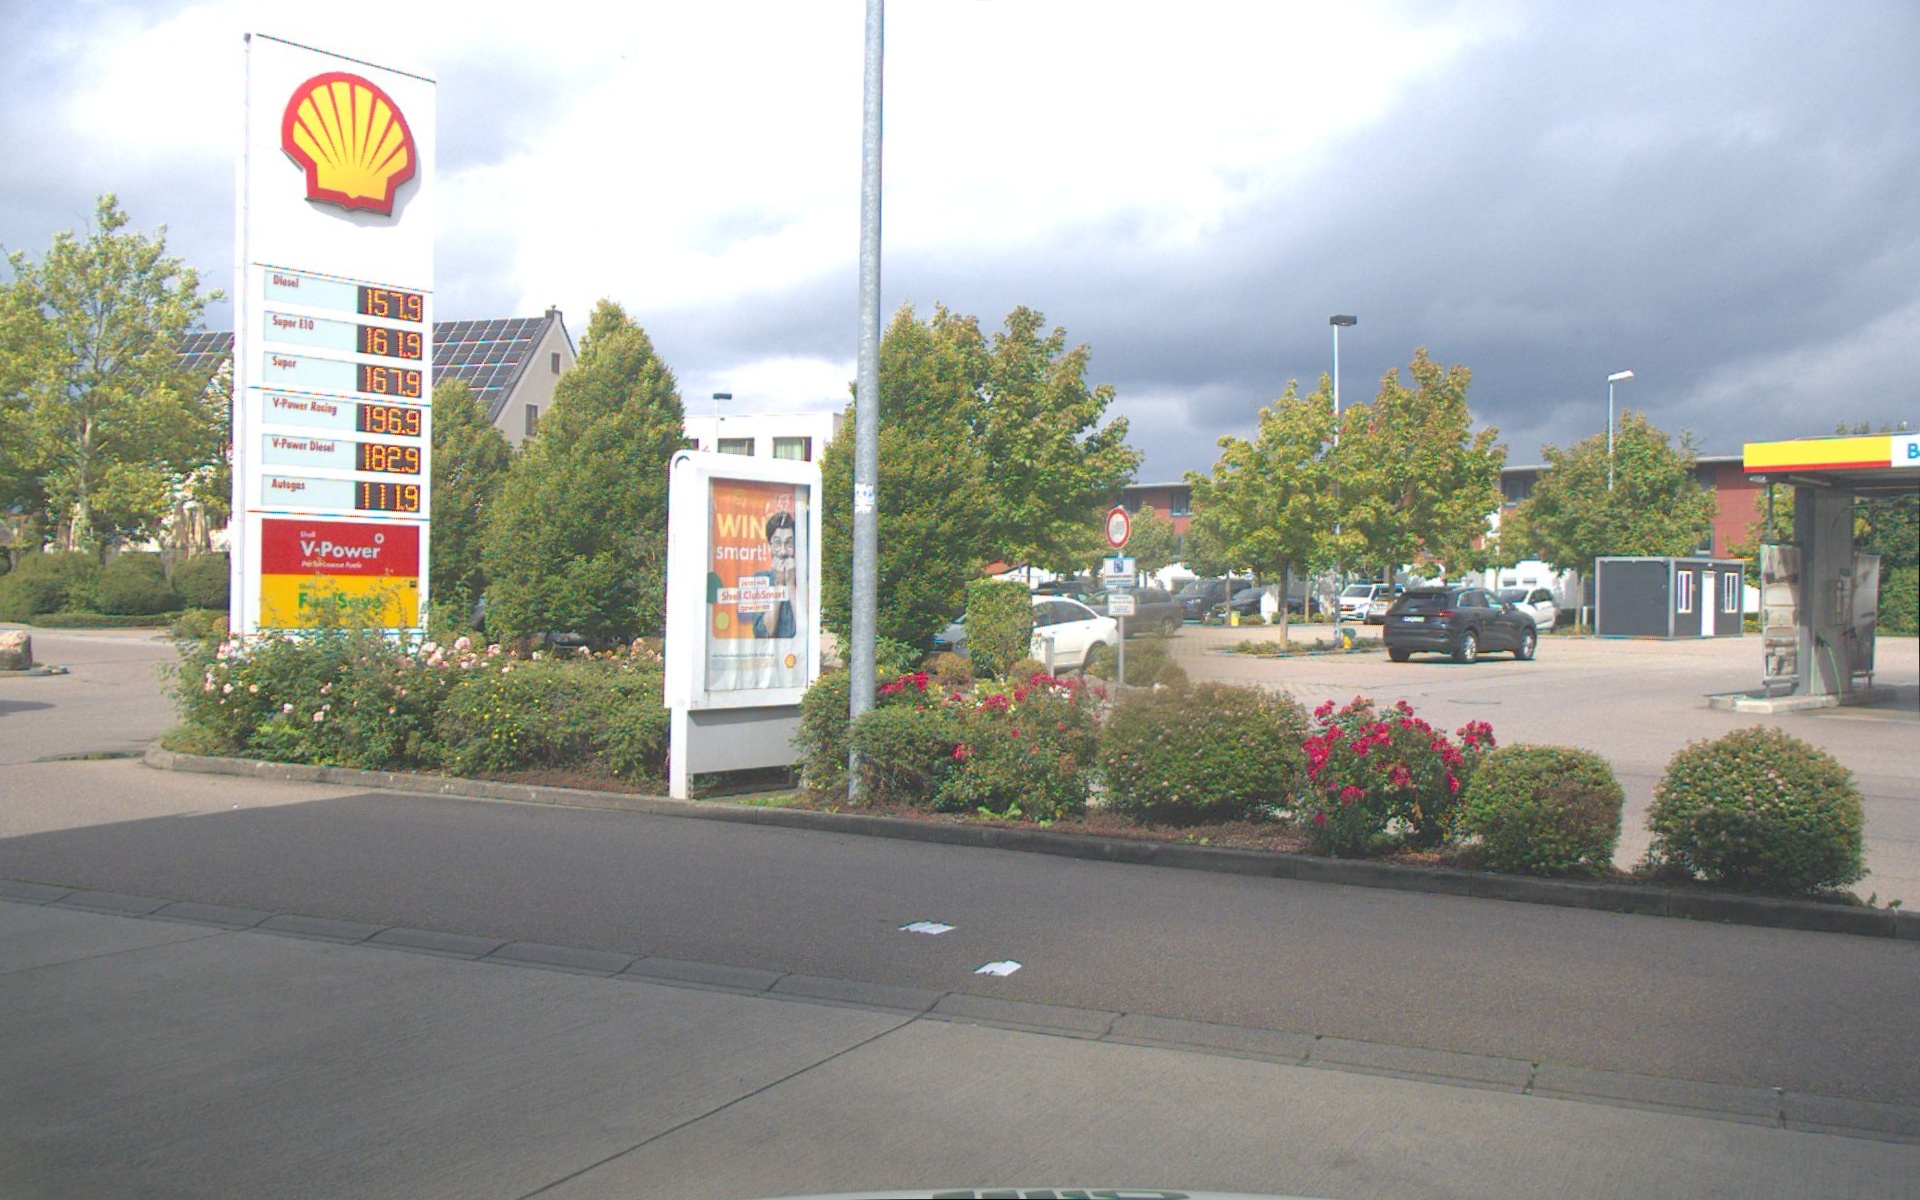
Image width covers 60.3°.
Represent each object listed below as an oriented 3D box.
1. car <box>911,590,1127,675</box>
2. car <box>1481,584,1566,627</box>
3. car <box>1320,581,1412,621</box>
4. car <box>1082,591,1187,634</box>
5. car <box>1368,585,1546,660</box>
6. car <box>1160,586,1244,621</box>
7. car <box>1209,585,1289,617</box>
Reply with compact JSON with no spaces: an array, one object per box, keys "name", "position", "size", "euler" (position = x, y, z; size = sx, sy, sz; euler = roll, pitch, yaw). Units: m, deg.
[{"name":"car","position":[1.133,0.586,29.939],"size":[1.348,1.428,4.312],"euler":[1,-1,45]},{"name":"car","position":[18.006,0.180,52.809],"size":[3.080,1.330,1.346],"euler":[1,-1,-45]},{"name":"car","position":[19.913,0.046,80.949],"size":[4.839,1.865,2.150],"euler":[1,0,-44]},{"name":"car","position":[5.277,0.377,49.795],"size":[3.203,1.249,1.481],"euler":[1,0,-45]},{"name":"car","position":[11.130,0.496,36.896],"size":[4.467,1.575,1.856],"euler":[1,0,-44]},{"name":"car","position":[9.809,0.155,66.935],"size":[3.364,1.343,1.719],"euler":[1,0,-45]},{"name":"car","position":[11.411,0.051,65.213],"size":[3.393,1.199,1.462],"euler":[1,0,-45]}]
